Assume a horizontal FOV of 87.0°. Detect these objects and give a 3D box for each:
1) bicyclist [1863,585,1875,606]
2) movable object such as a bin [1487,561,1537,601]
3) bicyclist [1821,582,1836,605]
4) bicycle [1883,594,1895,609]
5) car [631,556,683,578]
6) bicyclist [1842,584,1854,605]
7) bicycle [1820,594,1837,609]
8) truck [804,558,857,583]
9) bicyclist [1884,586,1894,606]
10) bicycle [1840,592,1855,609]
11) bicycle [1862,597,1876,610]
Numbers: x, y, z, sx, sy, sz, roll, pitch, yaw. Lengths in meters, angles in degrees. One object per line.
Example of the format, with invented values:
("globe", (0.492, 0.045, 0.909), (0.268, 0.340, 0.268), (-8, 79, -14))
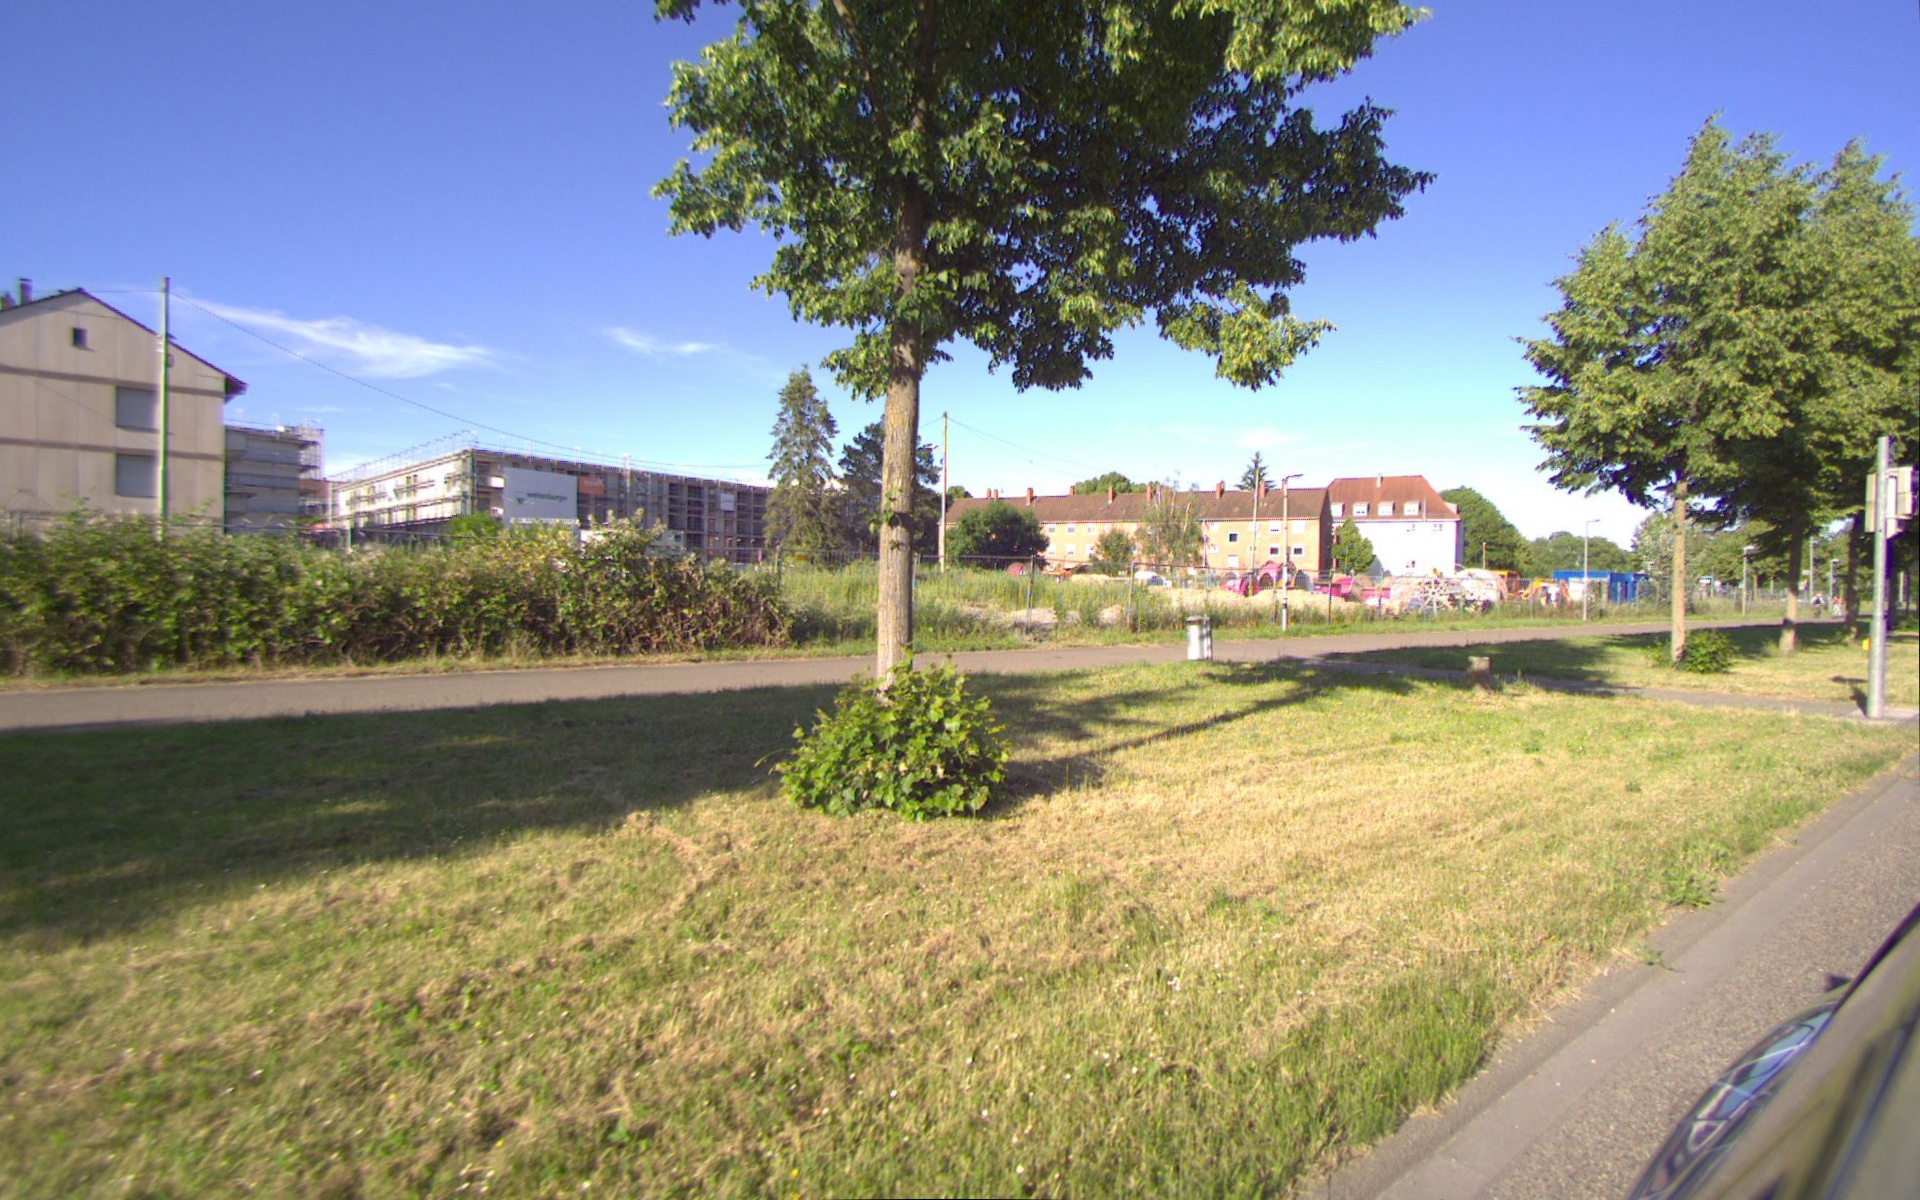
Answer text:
("bicyclist", (70.783, -0.338, 78.827), (0.949, 1.606, 0.592), (-2, 2, -41))
("movable object such as a bin", (29.057, -1.024, 53.272), (1.757, 2.038, 1.799), (-2, 2, -39))
("bicyclist", (61.532, -0.474, 71.684), (0.780, 1.572, 0.654), (-1, 2, -40))
("bicycle", (71.497, 0.135, 77.904), (1.615, 1.095, 0.478), (-2, 2, -41))
("car", (-23.677, -2.578, 79.230), (1.619, 1.638, 3.597), (1, 3, 43))
("bicyclist", (62.302, -0.397, 71.015), (0.819, 1.491, 0.504), (-1, 2, -42))
("bicycle", (61.568, 0.084, 71.751), (1.788, 1.025, 0.657), (0, 1, -40))
("truck", (-11.048, -2.512, 86.738), (1.990, 2.039, 4.371), (2, 1, 39))
("bicyclist", (71.477, -0.299, 77.884), (0.899, 1.504, 0.471), (-2, 2, -40))
("bicycle", (62.301, 0.027, 71.035), (1.577, 1.166, 0.507), (0, 2, -41))
("bicycle", (70.780, 0.259, 78.835), (1.868, 0.972, 0.592), (-2, 2, -41))
